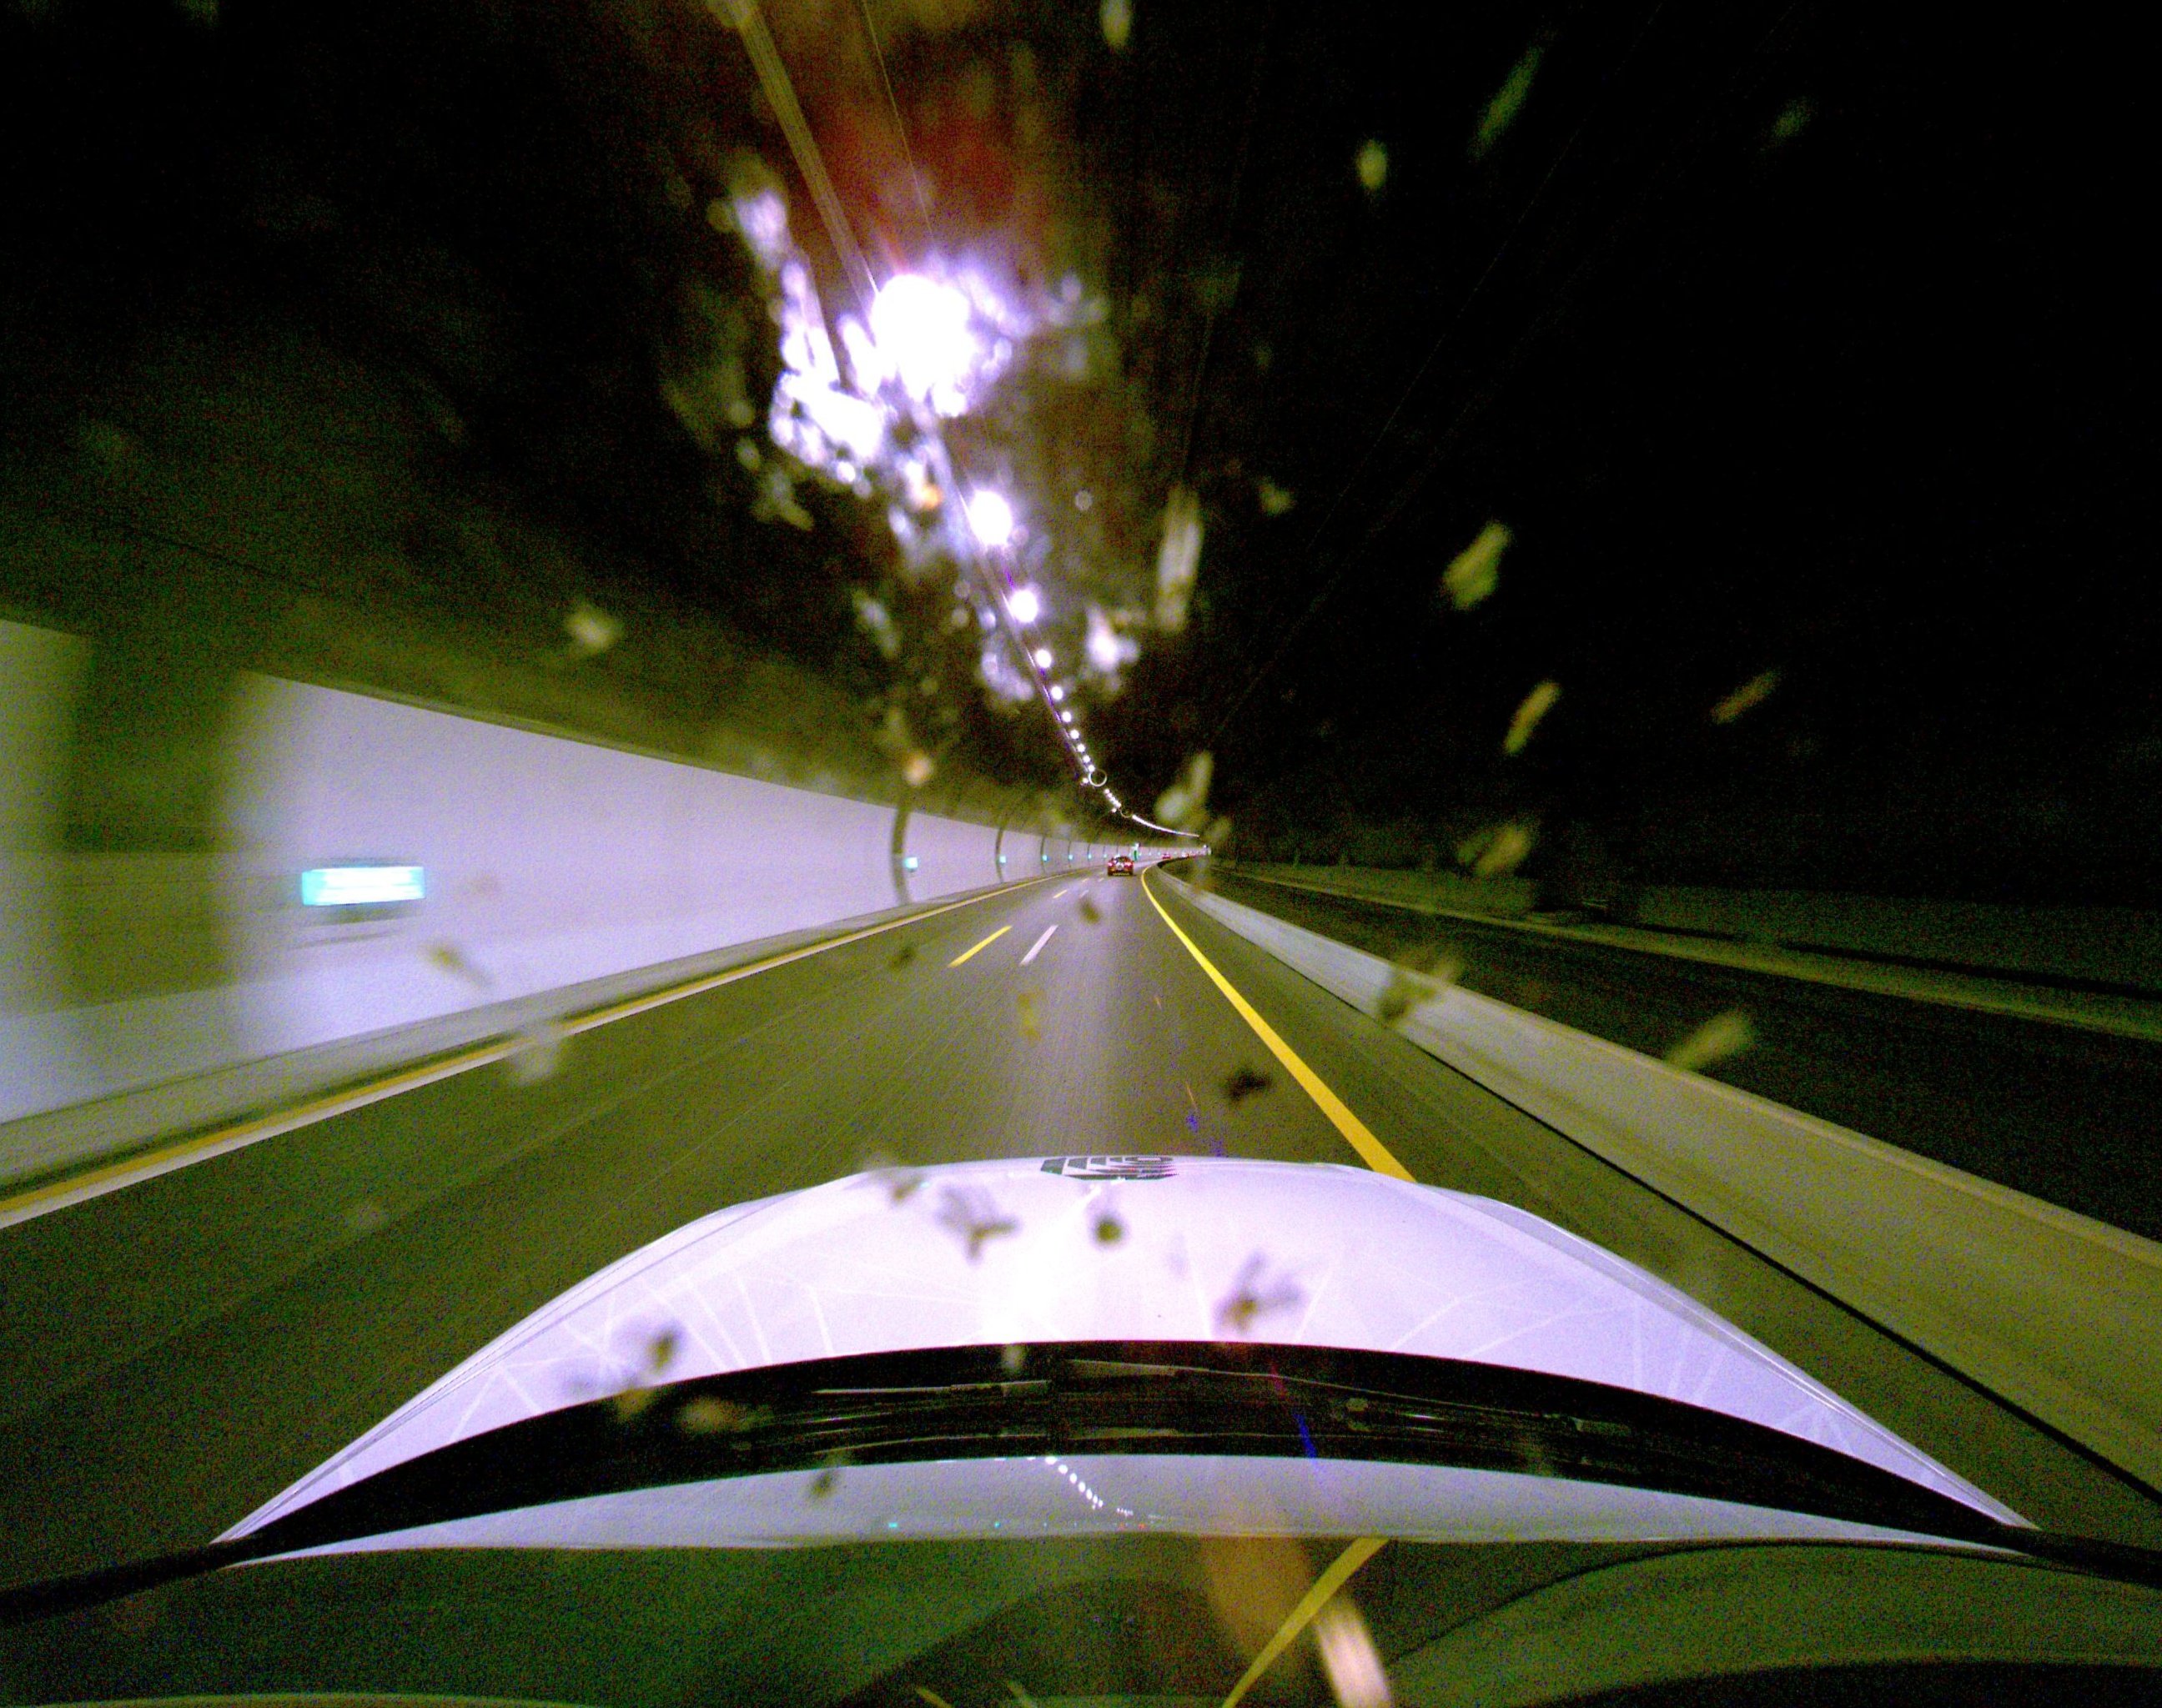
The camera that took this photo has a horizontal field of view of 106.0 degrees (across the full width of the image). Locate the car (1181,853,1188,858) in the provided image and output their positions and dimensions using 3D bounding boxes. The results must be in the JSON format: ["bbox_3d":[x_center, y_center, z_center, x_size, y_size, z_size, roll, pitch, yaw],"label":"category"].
[{"bbox_3d":[29.405,0.464,231.630,1.584,1.333,3.762,-1,0,12],"label":"car"}]

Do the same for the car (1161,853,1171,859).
[{"bbox_3d":[22.131,0.583,211.848,2.151,1.486,4.012,-1,0,11],"label":"car"}]

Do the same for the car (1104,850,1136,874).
[{"bbox_3d":[2.905,0.566,60.351,2.130,1.706,4.006,-1,0,5],"label":"car"}]
